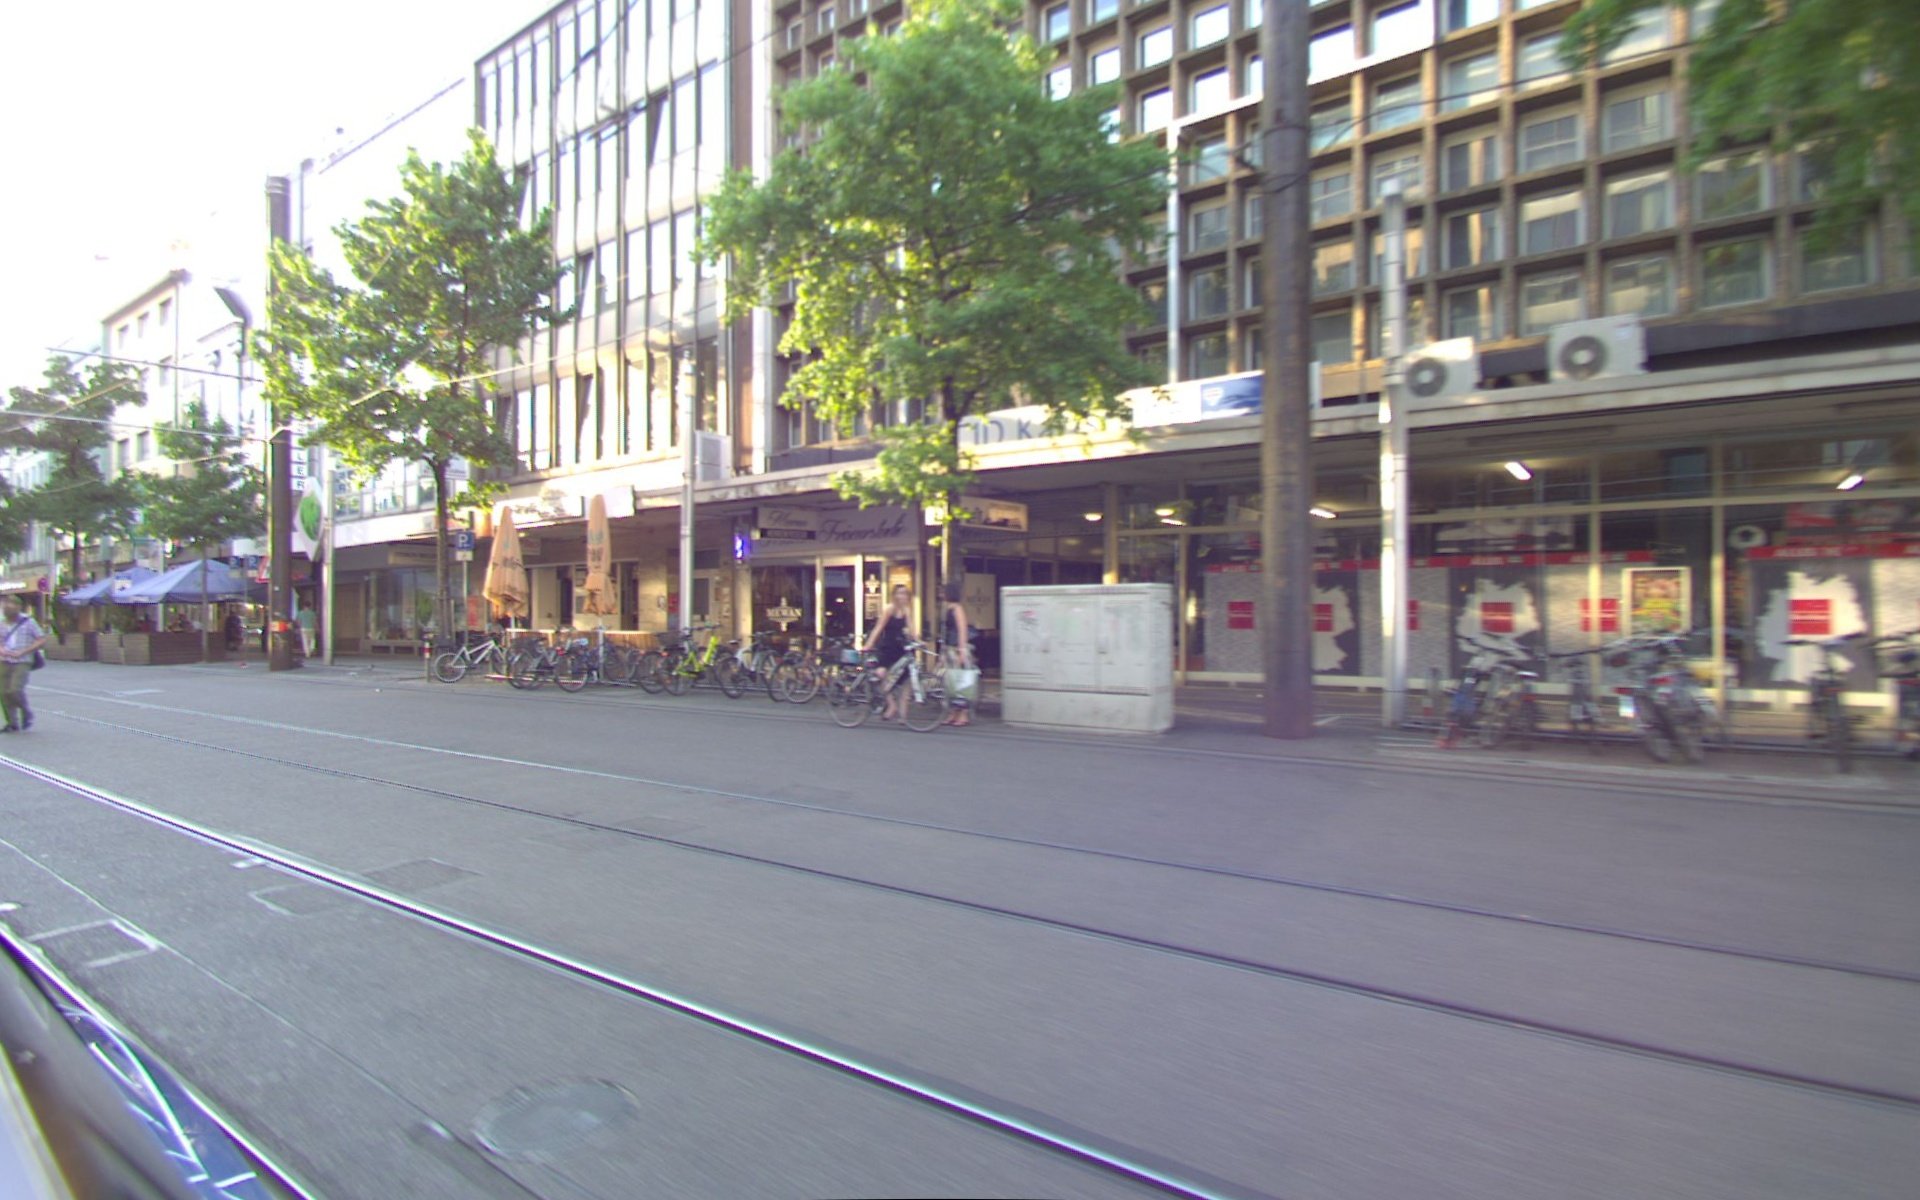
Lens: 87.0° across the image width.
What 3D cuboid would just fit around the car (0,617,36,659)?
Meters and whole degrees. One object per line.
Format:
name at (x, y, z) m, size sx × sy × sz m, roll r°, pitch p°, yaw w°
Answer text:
car at (-44.970, 1.804, 47.391) m, size 4.325 × 1.835 × 1.808 m, roll -2°, pitch 1°, yaw 39°

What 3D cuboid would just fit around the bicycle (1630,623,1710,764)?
bicycle at (6.271, 0.764, 8.909) m, size 0.489 × 1.053 × 1.755 m, roll -2°, pitch 0°, yaw 37°

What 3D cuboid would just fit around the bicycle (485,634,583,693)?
bicycle at (-8.133, 1.205, 19.405) m, size 0.488 × 0.997 × 1.759 m, roll -3°, pitch 0°, yaw 31°

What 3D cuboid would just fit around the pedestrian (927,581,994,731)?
pedestrian at (0.000, 0.648, 12.003) m, size 0.592 × 1.712 × 0.537 m, roll -1°, pitch -1°, yaw -24°

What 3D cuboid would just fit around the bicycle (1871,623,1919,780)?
bicycle at (7.547, 0.743, 7.878) m, size 0.489 × 1.053 × 1.755 m, roll -2°, pitch 0°, yaw 37°

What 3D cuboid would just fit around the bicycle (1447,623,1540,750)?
bicycle at (5.160, 0.783, 9.744) m, size 0.489 × 1.053 × 1.755 m, roll -2°, pitch 0°, yaw 37°

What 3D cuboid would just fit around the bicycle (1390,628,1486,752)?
bicycle at (4.775, 0.840, 10.046) m, size 0.489 × 1.053 × 1.755 m, roll -2°, pitch 0°, yaw 37°

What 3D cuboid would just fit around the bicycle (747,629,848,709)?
bicycle at (-2.484, 1.031, 15.650) m, size 0.488 × 1.079 × 1.759 m, roll -2°, pitch 0°, yaw 31°

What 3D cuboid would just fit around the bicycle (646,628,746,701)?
bicycle at (-4.439, 1.063, 17.137) m, size 0.488 × 1.079 × 1.759 m, roll -2°, pitch 0°, yaw 31°

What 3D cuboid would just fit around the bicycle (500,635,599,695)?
bicycle at (-7.711, 1.198, 19.089) m, size 0.488 × 0.997 × 1.759 m, roll -3°, pitch 0°, yaw 31°

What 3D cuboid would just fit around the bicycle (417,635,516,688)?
bicycle at (-10.201, 1.252, 20.948) m, size 1.748 × 0.973 × 0.490 m, roll -2°, pitch 1°, yaw -36°

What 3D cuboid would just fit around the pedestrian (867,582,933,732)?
pedestrian at (-0.713, 0.658, 11.968) m, size 0.592 × 1.712 × 0.537 m, roll -1°, pitch -1°, yaw -24°

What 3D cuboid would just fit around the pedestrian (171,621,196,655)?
pedestrian at (-34.175, 1.667, 44.527) m, size 0.642 × 1.444 × 0.655 m, roll 0°, pitch 4°, yaw 37°

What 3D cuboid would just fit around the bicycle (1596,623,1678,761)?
bicycle at (6.083, 0.768, 9.061) m, size 0.489 × 1.053 × 1.755 m, roll -2°, pitch 0°, yaw 37°

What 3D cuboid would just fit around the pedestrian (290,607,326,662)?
pedestrian at (-21.901, 1.151, 34.012) m, size 0.989 × 1.806 × 0.678 m, roll -1°, pitch 1°, yaw 37°

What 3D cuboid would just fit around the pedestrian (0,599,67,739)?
pedestrian at (-12.606, 0.901, 13.524) m, size 0.808 × 1.806 × 0.993 m, roll -1°, pitch -1°, yaw -28°

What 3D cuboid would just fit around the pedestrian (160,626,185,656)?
pedestrian at (-32.771, 1.702, 42.106) m, size 0.664 × 1.165 × 0.635 m, roll -1°, pitch 2°, yaw 35°

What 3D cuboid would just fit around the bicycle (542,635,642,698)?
bicycle at (-6.598, 1.180, 18.223) m, size 0.488 × 0.997 × 1.759 m, roll -3°, pitch 0°, yaw 31°

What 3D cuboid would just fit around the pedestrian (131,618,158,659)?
pedestrian at (-31.916, 1.496, 39.608) m, size 0.564 × 1.564 × 0.650 m, roll -1°, pitch 2°, yaw 35°

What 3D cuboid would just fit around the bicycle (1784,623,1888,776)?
bicycle at (7.109, 0.751, 8.261) m, size 0.489 × 1.053 × 1.755 m, roll -2°, pitch 0°, yaw 37°

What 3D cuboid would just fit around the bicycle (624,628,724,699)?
bicycle at (-4.908, 1.071, 17.473) m, size 0.488 × 1.079 × 1.759 m, roll -2°, pitch 0°, yaw 31°

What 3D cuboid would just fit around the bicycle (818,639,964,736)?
bicycle at (-0.825, 0.992, 11.834) m, size 1.773 × 1.053 × 0.484 m, roll -2°, pitch -1°, yaw 35°

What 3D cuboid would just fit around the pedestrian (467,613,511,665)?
pedestrian at (-12.637, 1.037, 27.154) m, size 0.910 × 1.335 × 0.664 m, roll -1°, pitch 1°, yaw 36°

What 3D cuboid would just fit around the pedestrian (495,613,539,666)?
pedestrian at (-11.611, 1.017, 26.534) m, size 0.910 × 1.335 × 0.664 m, roll -1°, pitch 1°, yaw 36°

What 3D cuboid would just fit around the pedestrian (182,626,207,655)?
pedestrian at (-32.403, 1.700, 42.836) m, size 0.664 × 1.165 × 0.635 m, roll -1°, pitch 2°, yaw 35°

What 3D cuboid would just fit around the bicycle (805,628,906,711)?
bicycle at (-1.511, 0.994, 14.955) m, size 0.488 × 1.079 × 1.759 m, roll -2°, pitch 0°, yaw 31°

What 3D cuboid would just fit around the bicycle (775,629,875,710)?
bicycle at (-2.020, 1.024, 15.361) m, size 0.488 × 1.079 × 1.759 m, roll -2°, pitch 0°, yaw 31°

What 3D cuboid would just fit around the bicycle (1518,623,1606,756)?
bicycle at (5.610, 0.775, 9.393) m, size 0.489 × 1.053 × 1.755 m, roll -2°, pitch 0°, yaw 37°

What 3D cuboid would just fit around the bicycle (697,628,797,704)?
bicycle at (-3.429, 1.047, 16.419) m, size 0.488 × 1.079 × 1.759 m, roll -2°, pitch 0°, yaw 31°

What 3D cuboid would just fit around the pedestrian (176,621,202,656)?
pedestrian at (-33.600, 1.658, 44.096) m, size 0.642 × 1.444 × 0.655 m, roll 0°, pitch 4°, yaw 37°

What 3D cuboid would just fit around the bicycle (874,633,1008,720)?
bicycle at (-0.266, 0.971, 13.110) m, size 1.773 × 1.053 × 0.484 m, roll -2°, pitch -1°, yaw 35°
